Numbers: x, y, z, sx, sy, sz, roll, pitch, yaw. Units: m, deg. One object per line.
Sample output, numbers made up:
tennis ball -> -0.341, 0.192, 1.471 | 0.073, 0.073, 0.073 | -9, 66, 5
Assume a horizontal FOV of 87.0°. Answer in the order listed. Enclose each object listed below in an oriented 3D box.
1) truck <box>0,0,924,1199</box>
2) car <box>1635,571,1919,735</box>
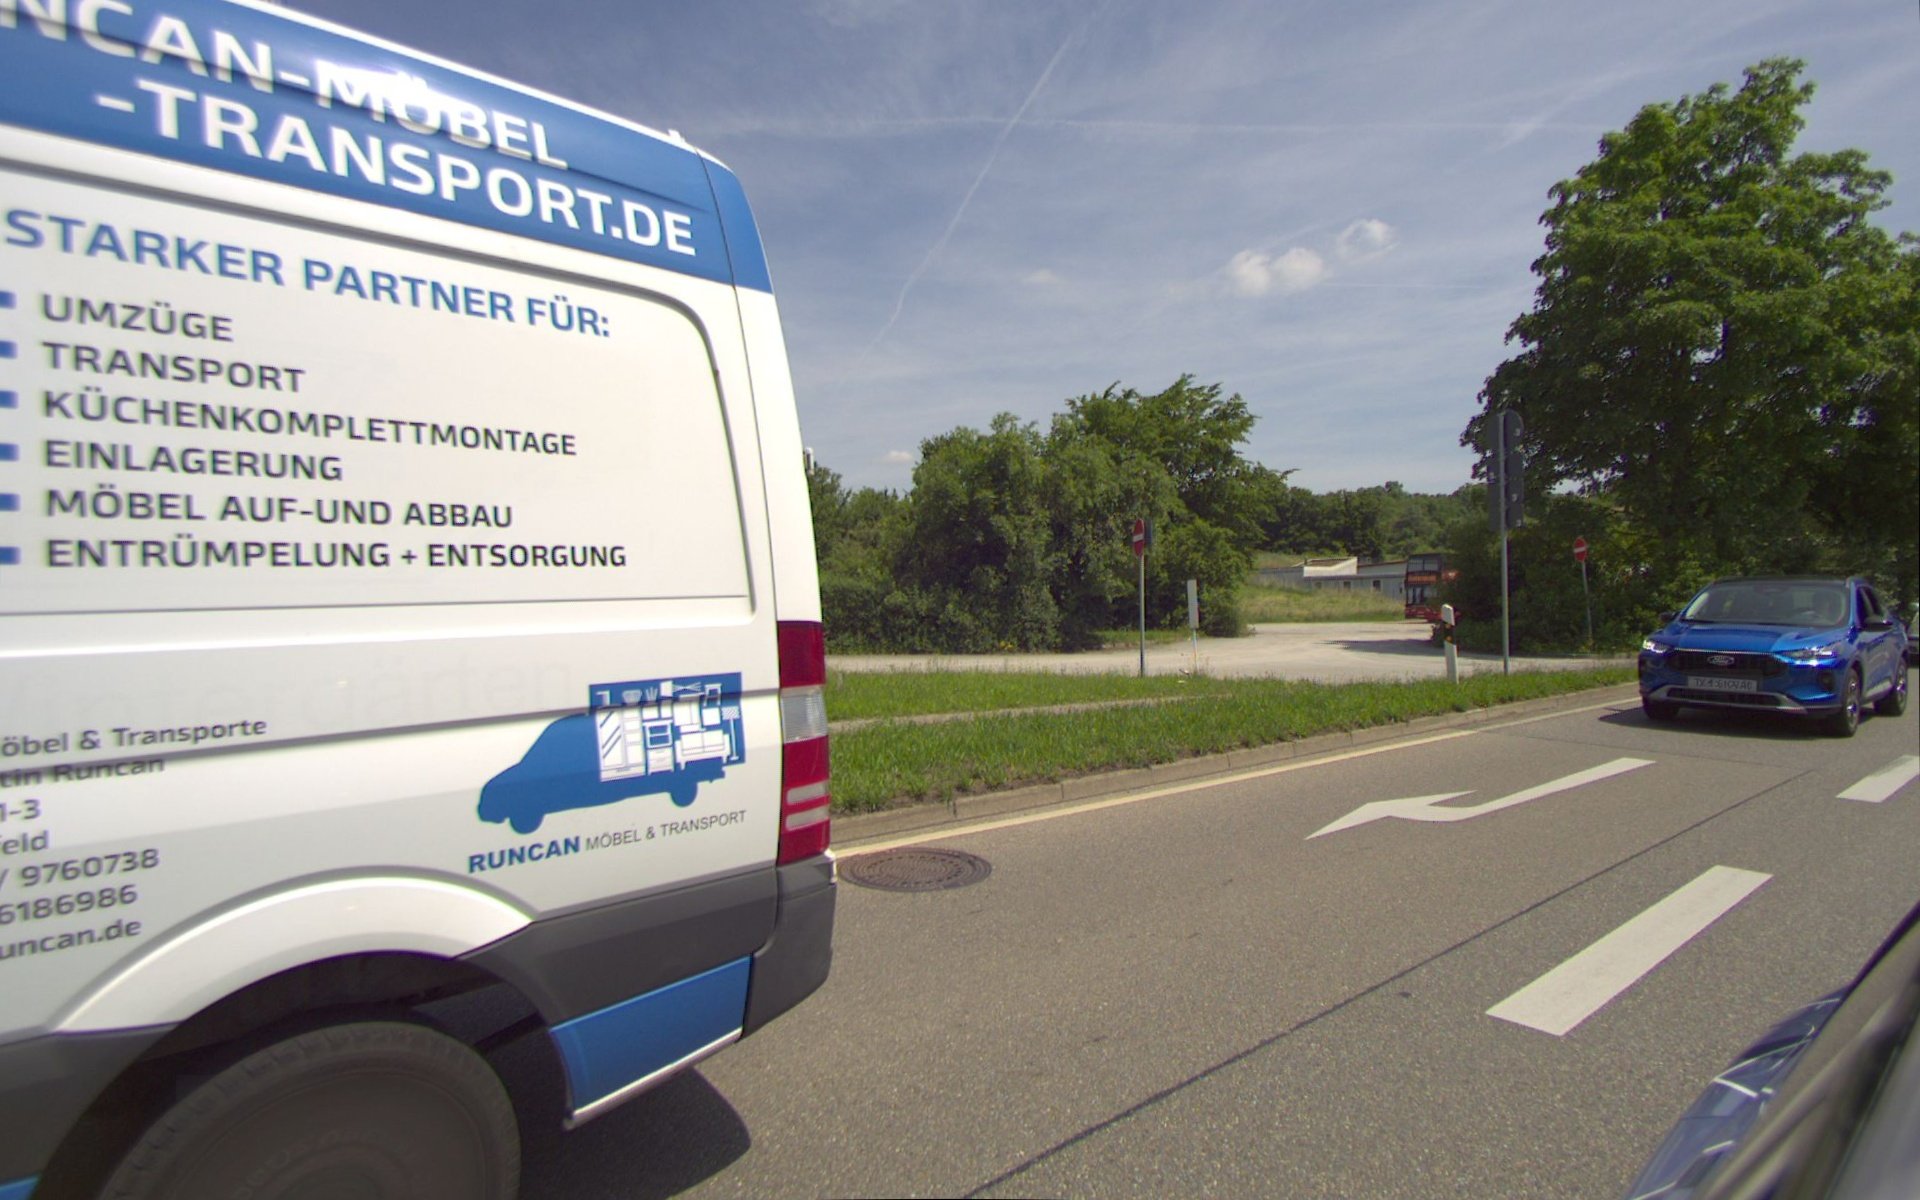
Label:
truck -> -2.973, 0.047, 1.484 | 5.839, 2.771, 2.070 | -1, 1, -41
car -> 9.653, 0.460, 11.766 | 4.309, 1.578, 1.783 | -1, 1, -39
